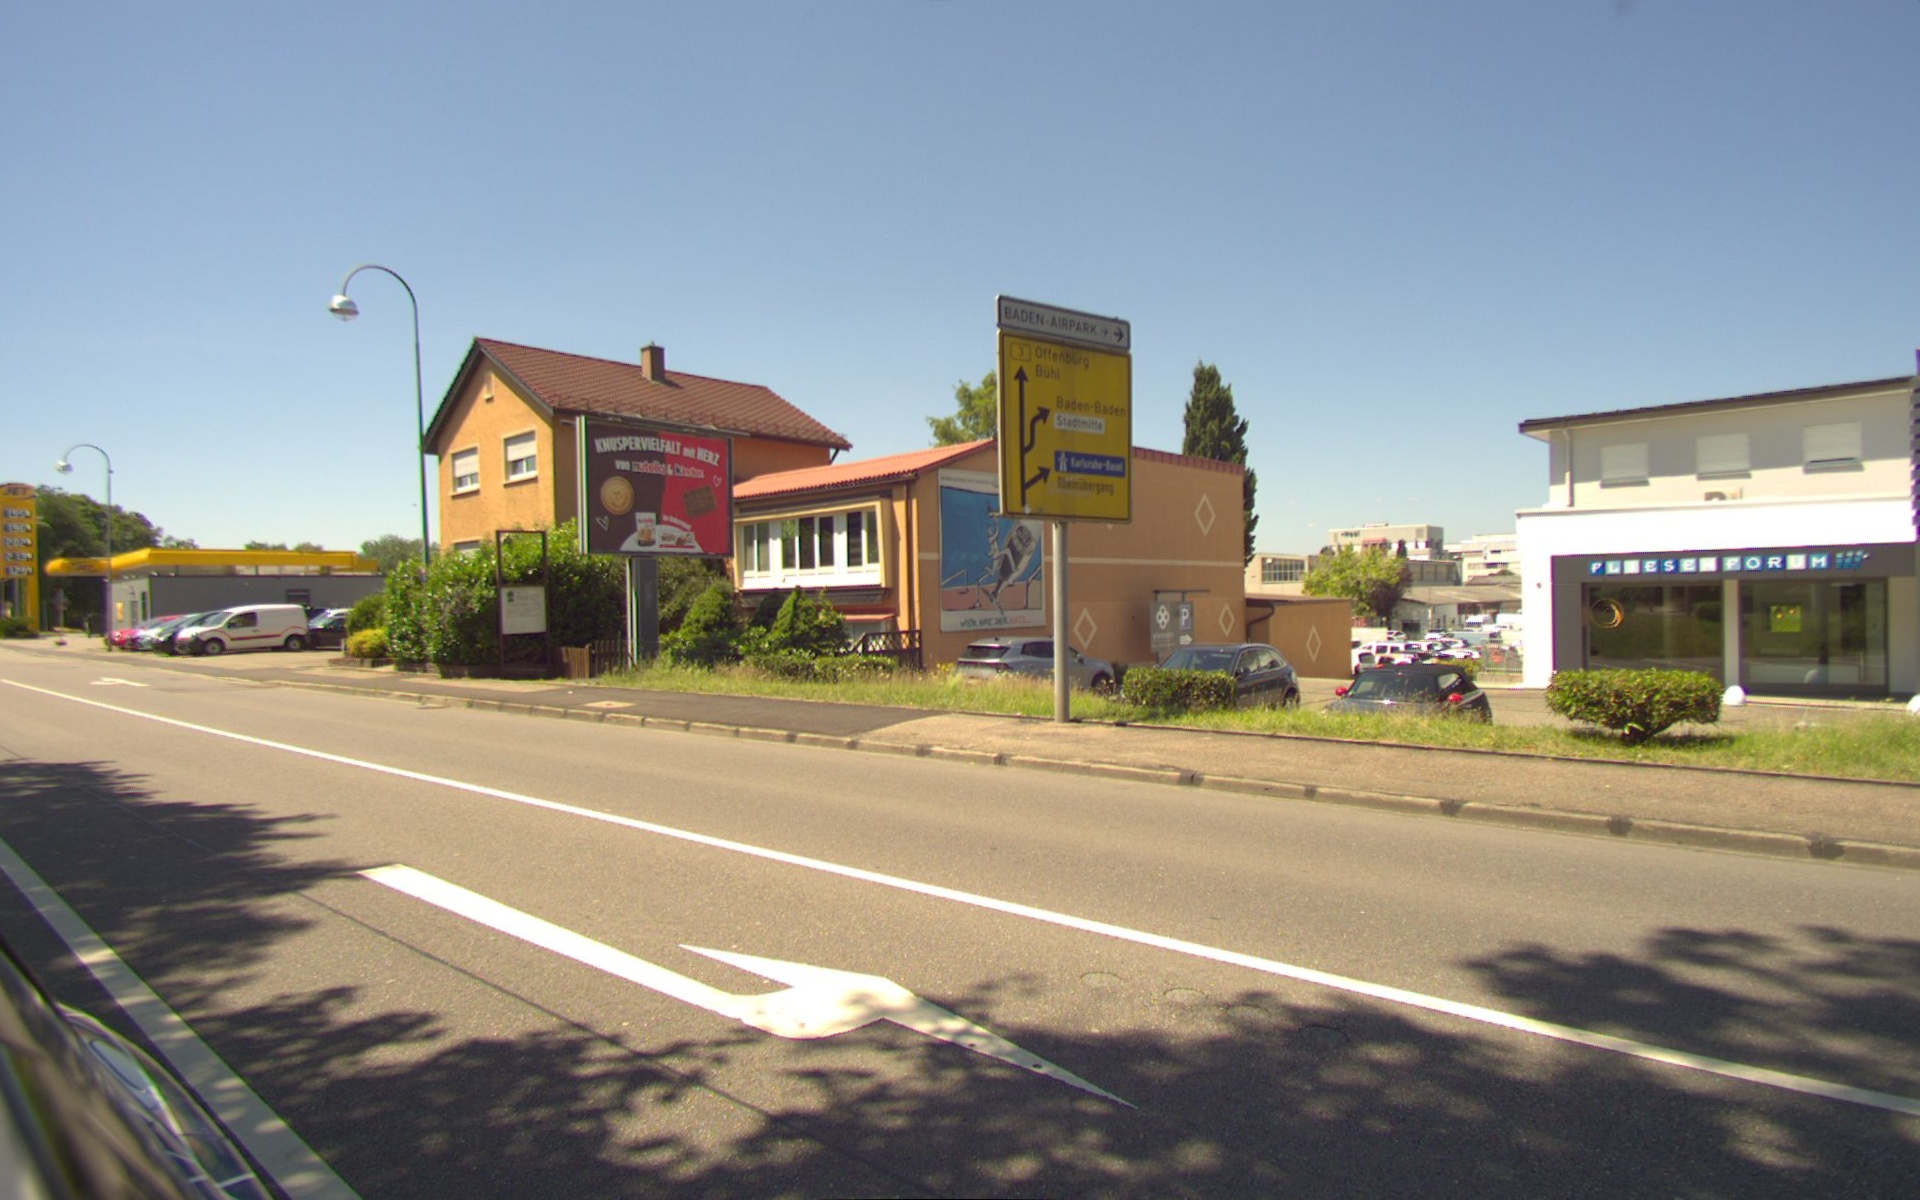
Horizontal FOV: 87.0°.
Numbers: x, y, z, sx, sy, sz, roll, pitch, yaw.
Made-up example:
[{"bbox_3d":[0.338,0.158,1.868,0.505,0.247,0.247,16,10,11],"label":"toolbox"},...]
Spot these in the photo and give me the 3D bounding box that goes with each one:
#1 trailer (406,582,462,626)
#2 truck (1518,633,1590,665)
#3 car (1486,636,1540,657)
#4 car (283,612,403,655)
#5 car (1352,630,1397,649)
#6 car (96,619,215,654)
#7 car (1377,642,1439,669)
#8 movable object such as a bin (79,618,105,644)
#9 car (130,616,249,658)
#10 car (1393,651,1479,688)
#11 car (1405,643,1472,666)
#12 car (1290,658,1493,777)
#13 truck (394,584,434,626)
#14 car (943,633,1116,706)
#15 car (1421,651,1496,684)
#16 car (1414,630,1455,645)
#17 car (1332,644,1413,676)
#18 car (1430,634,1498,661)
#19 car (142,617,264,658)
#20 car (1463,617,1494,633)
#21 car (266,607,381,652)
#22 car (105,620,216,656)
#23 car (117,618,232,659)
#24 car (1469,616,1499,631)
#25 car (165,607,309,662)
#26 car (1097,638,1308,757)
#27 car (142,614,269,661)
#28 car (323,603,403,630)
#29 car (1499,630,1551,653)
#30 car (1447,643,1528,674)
[{"bbox_3d":[-41.299,0.335,79.381,5.911,3.244,1.845,-2,-1,41],"label":"trailer"},{"bbox_3d":[40.600,3.324,69.210,3.982,1.992,1.663,-1,0,41],"label":"truck"},{"bbox_3d":[37.455,3.165,68.568,3.042,1.309,1.289,-1,0,41],"label":"car"},{"bbox_3d":[-26.148,1.402,42.970,1.828,1.580,3.948,-2,0,39],"label":"car"},{"bbox_3d":[34.352,3.260,83.958,3.220,1.488,1.350,-1,0,41],"label":"car"},{"bbox_3d":[-37.584,1.683,47.327,1.825,1.455,4.084,-1,0,40],"label":"car"},{"bbox_3d":[28.482,3.478,64.367,3.320,1.558,1.509,-1,0,41],"label":"car"},{"bbox_3d":[-54.529,1.928,63.541,1.427,1.528,0.942,-3,3,42],"label":"movable object such as a bin"},{"bbox_3d":[-32.385,1.524,42.598,1.920,1.593,3.628,-1,0,38],"label":"car"},{"bbox_3d":[25.219,3.653,53.693,3.816,1.740,1.729,-1,0,41],"label":"car"},{"bbox_3d":[33.853,3.833,71.662,3.998,1.486,1.733,-1,0,41],"label":"car"},{"bbox_3d":[6.682,1.693,15.545,1.781,1.434,3.300,-2,-1,45],"label":"car"},{"bbox_3d":[-44.186,0.431,81.939,3.188,3.267,1.826,-2,-1,41],"label":"truck"},{"bbox_3d":[1.679,1.539,23.449,3.979,1.462,1.781,0,-1,-43],"label":"car"},{"bbox_3d":[27.703,3.745,56.271,3.466,1.604,1.702,-1,0,41],"label":"car"},{"bbox_3d":[44.928,3.544,95.840,3.124,1.395,1.663,-1,0,41],"label":"car"},{"bbox_3d":[23.860,3.457,58.638,3.998,1.665,1.725,-1,0,41],"label":"car"},{"bbox_3d":[36.423,3.426,73.136,3.998,1.829,1.973,-1,-1,41],"label":"car"},{"bbox_3d":[-30.795,1.485,41.214,1.920,1.543,3.628,-1,0,38],"label":"car"},{"bbox_3d":[61.263,2.925,119.600,3.939,1.843,2.002,-1,0,-43],"label":"car"},{"bbox_3d":[-27.827,1.241,44.318,1.998,1.875,3.864,-1,-1,39],"label":"car"},{"bbox_3d":[-36.001,1.668,45.635,1.890,1.468,3.628,-1,0,38],"label":"car"},{"bbox_3d":[-34.082,1.629,43.979,1.879,1.617,3.628,-1,0,38],"label":"car"},{"bbox_3d":[59.157,2.607,114.146,2.000,1.608,3.943,-1,-1,43],"label":"car"},{"bbox_3d":[-27.412,1.255,38.463,1.996,1.912,4.057,-1,0,36],"label":"car"},{"bbox_3d":[4.499,1.637,18.370,1.895,1.699,4.285,-1,0,42],"label":"car"},{"bbox_3d":[-29.335,1.422,39.424,1.920,1.685,3.628,-1,0,38],"label":"car"},{"bbox_3d":[-36.963,1.022,62.751,1.754,1.596,3.944,-1,0,42],"label":"car"},{"bbox_3d":[42.398,3.091,75.900,3.124,1.545,1.663,-1,0,41],"label":"car"},{"bbox_3d":[31.469,3.483,60.415,3.998,1.648,1.824,-1,-1,41],"label":"car"}]
